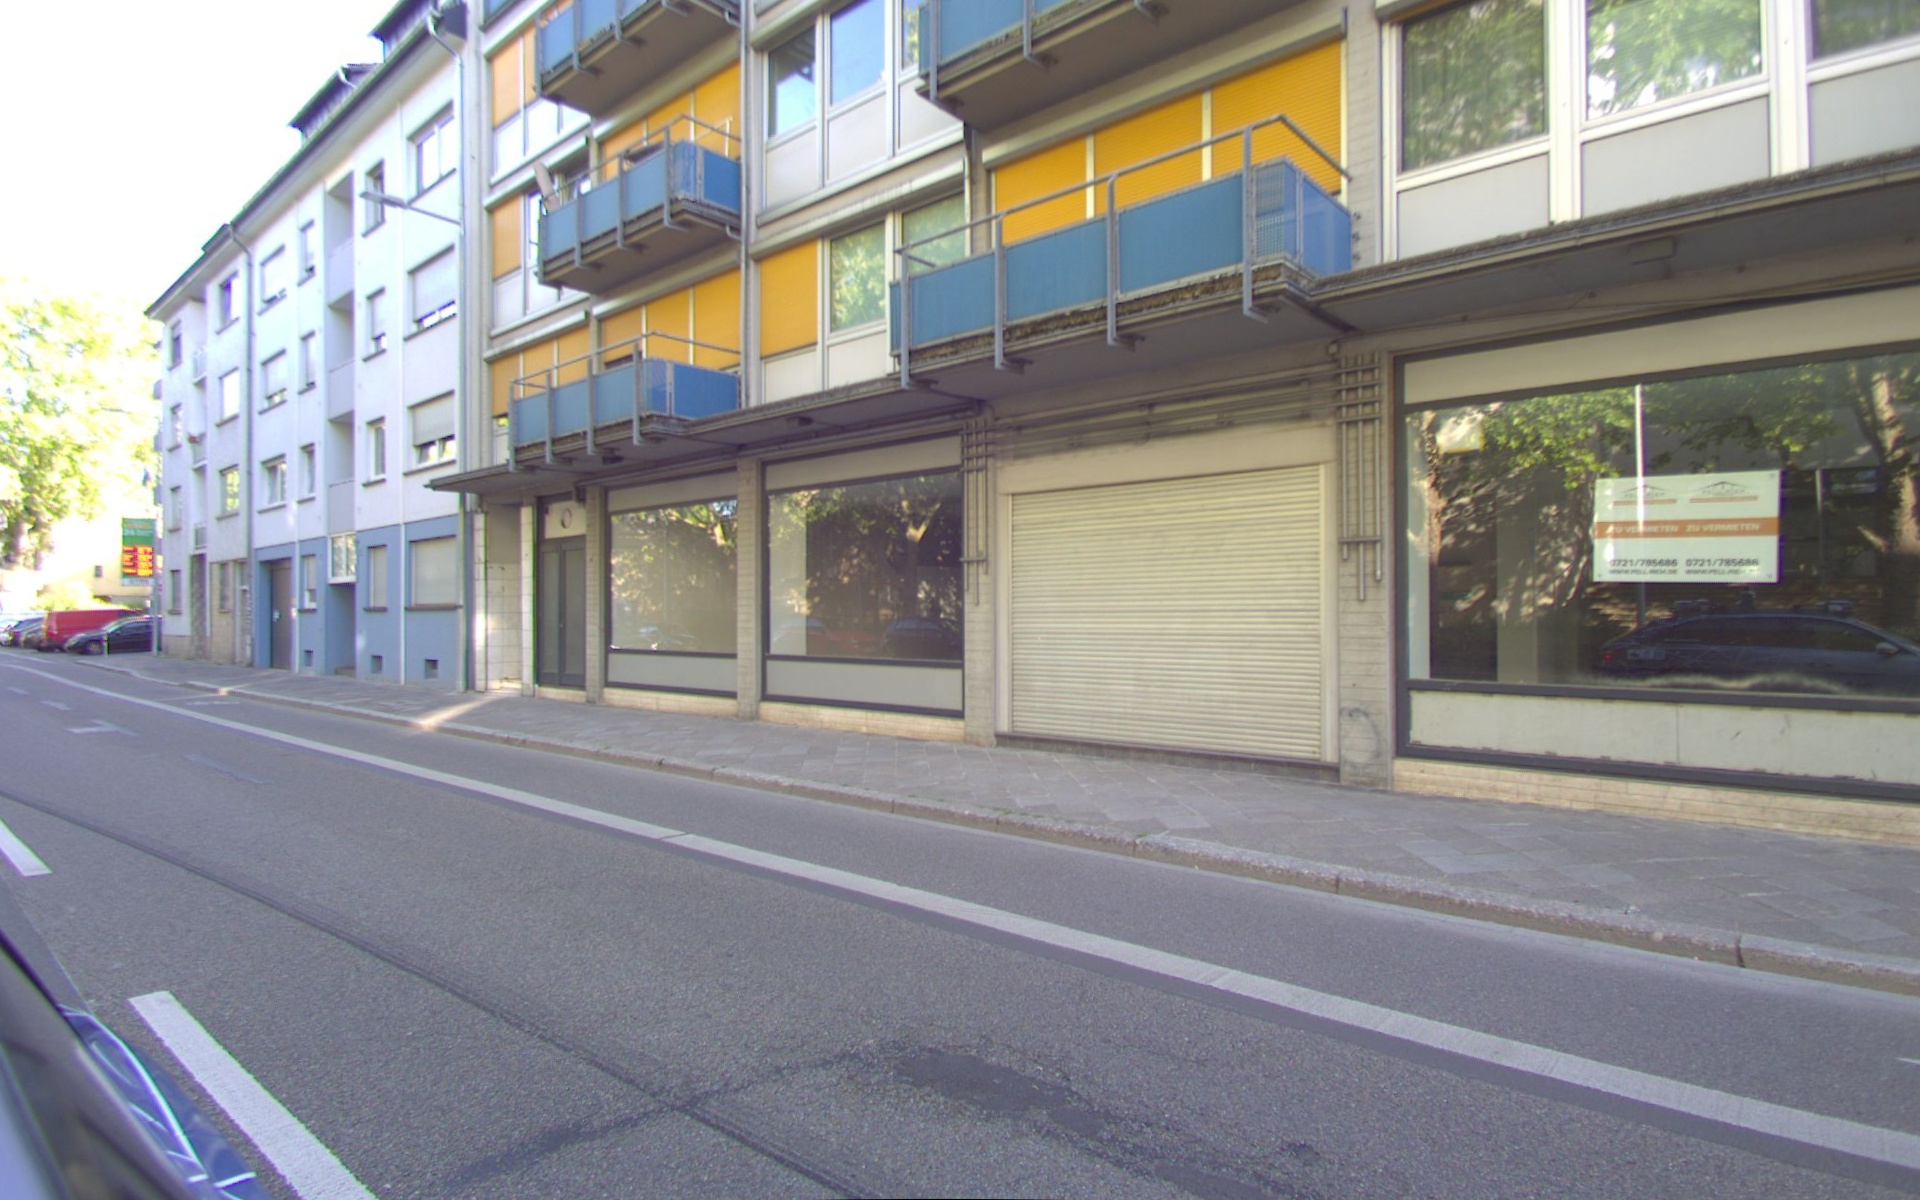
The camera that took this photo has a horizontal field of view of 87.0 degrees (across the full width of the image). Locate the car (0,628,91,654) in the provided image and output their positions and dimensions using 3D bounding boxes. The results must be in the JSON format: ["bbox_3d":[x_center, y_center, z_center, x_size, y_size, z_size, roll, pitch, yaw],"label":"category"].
[{"bbox_3d":[-50.460,2.223,55.877,1.345,1.254,3.638,-1,0,42],"label":"car"}]

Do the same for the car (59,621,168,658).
[{"bbox_3d":[-38.206,1.751,45.726,1.490,1.523,3.638,-1,0,43],"label":"car"}]

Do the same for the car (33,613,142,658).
[{"bbox_3d":[-40.665,1.631,47.226,1.488,1.923,3.642,-4,-2,39],"label":"car"}]

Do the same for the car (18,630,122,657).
[{"bbox_3d":[-42.828,2.056,48.740,1.345,1.137,3.638,-1,0,42],"label":"car"}]

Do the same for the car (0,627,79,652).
[{"bbox_3d":[-52.274,2.230,57.506,1.345,1.254,3.228,-1,0,43],"label":"car"}]

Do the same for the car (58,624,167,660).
[{"bbox_3d":[-36.689,1.794,43.846,1.490,1.398,3.462,-1,0,43],"label":"car"}]
